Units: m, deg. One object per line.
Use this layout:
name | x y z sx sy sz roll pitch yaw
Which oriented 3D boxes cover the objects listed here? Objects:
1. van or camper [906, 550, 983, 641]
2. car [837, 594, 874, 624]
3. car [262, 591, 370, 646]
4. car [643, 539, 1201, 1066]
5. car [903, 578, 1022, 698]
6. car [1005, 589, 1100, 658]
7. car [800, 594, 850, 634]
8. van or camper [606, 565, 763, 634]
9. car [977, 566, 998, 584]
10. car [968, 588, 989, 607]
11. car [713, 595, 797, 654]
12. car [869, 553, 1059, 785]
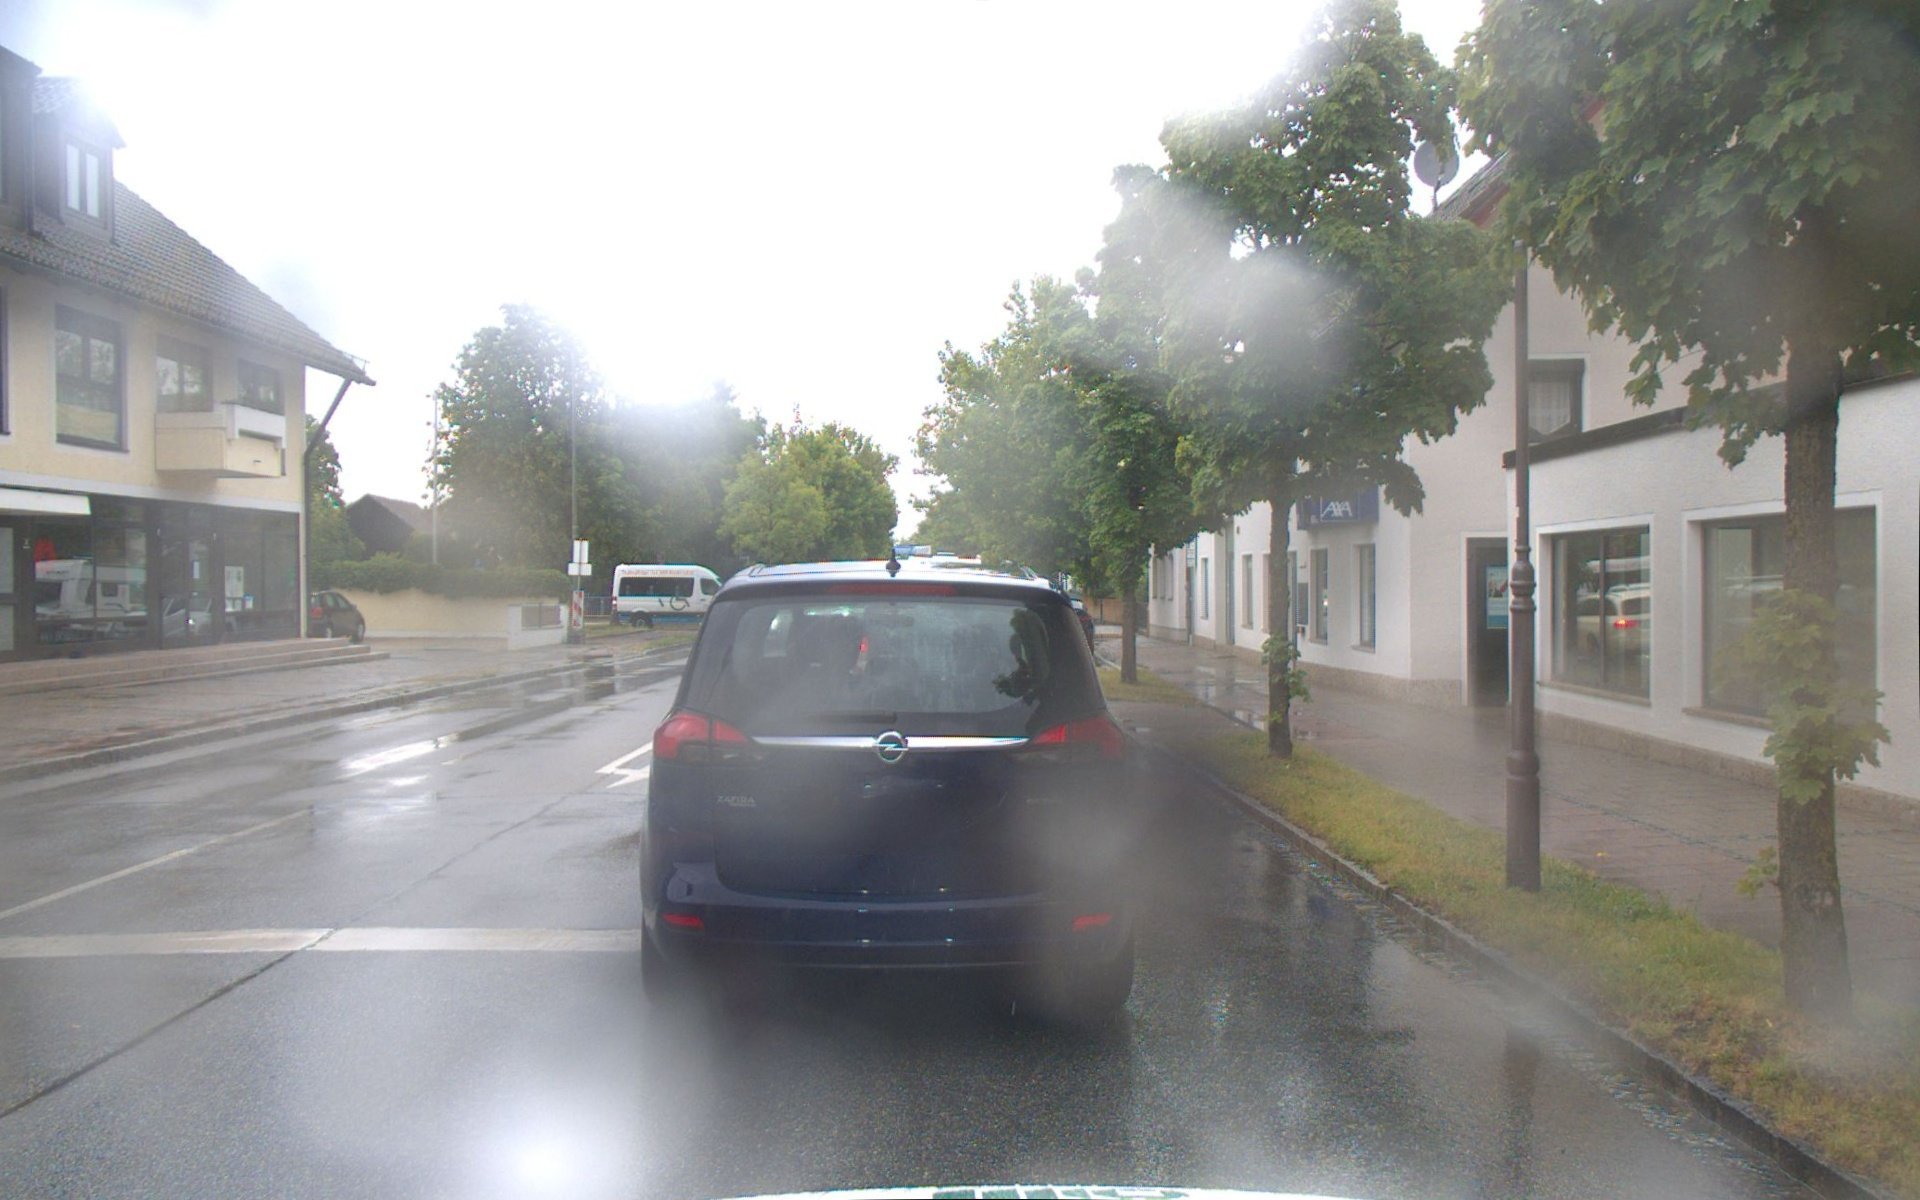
van or camper | -0.511 -0.150 52.612 2.312 2.712 5.370 0 0 -1
car | -5.733 0.471 90.754 1.716 1.538 4.230 -2 0 0
car | -17.556 0.472 45.260 1.574 1.404 3.508 -1 0 -1
car | -0.141 0.638 7.061 1.733 1.632 3.662 1 0 -1
car | 0.018 0.540 25.901 1.720 1.736 3.618 0 0 -1
car | 2.288 0.578 41.984 2.075 1.609 3.934 1 0 -1
car | -5.662 0.573 69.759 1.887 1.594 4.125 -1 0 -1
van or camper | -11.122 -0.033 67.086 6.127 2.754 2.098 0 0 -6
car | 2.314 -2.105 140.072 1.597 1.402 3.622 -1 0 -1
car | 1.449 -0.201 130.777 1.597 1.402 3.622 1 0 -1
car | -5.806 0.668 47.317 1.927 1.590 4.151 -1 0 -1
car | 0.014 0.542 14.648 1.470 1.807 3.111 1 0 -1
